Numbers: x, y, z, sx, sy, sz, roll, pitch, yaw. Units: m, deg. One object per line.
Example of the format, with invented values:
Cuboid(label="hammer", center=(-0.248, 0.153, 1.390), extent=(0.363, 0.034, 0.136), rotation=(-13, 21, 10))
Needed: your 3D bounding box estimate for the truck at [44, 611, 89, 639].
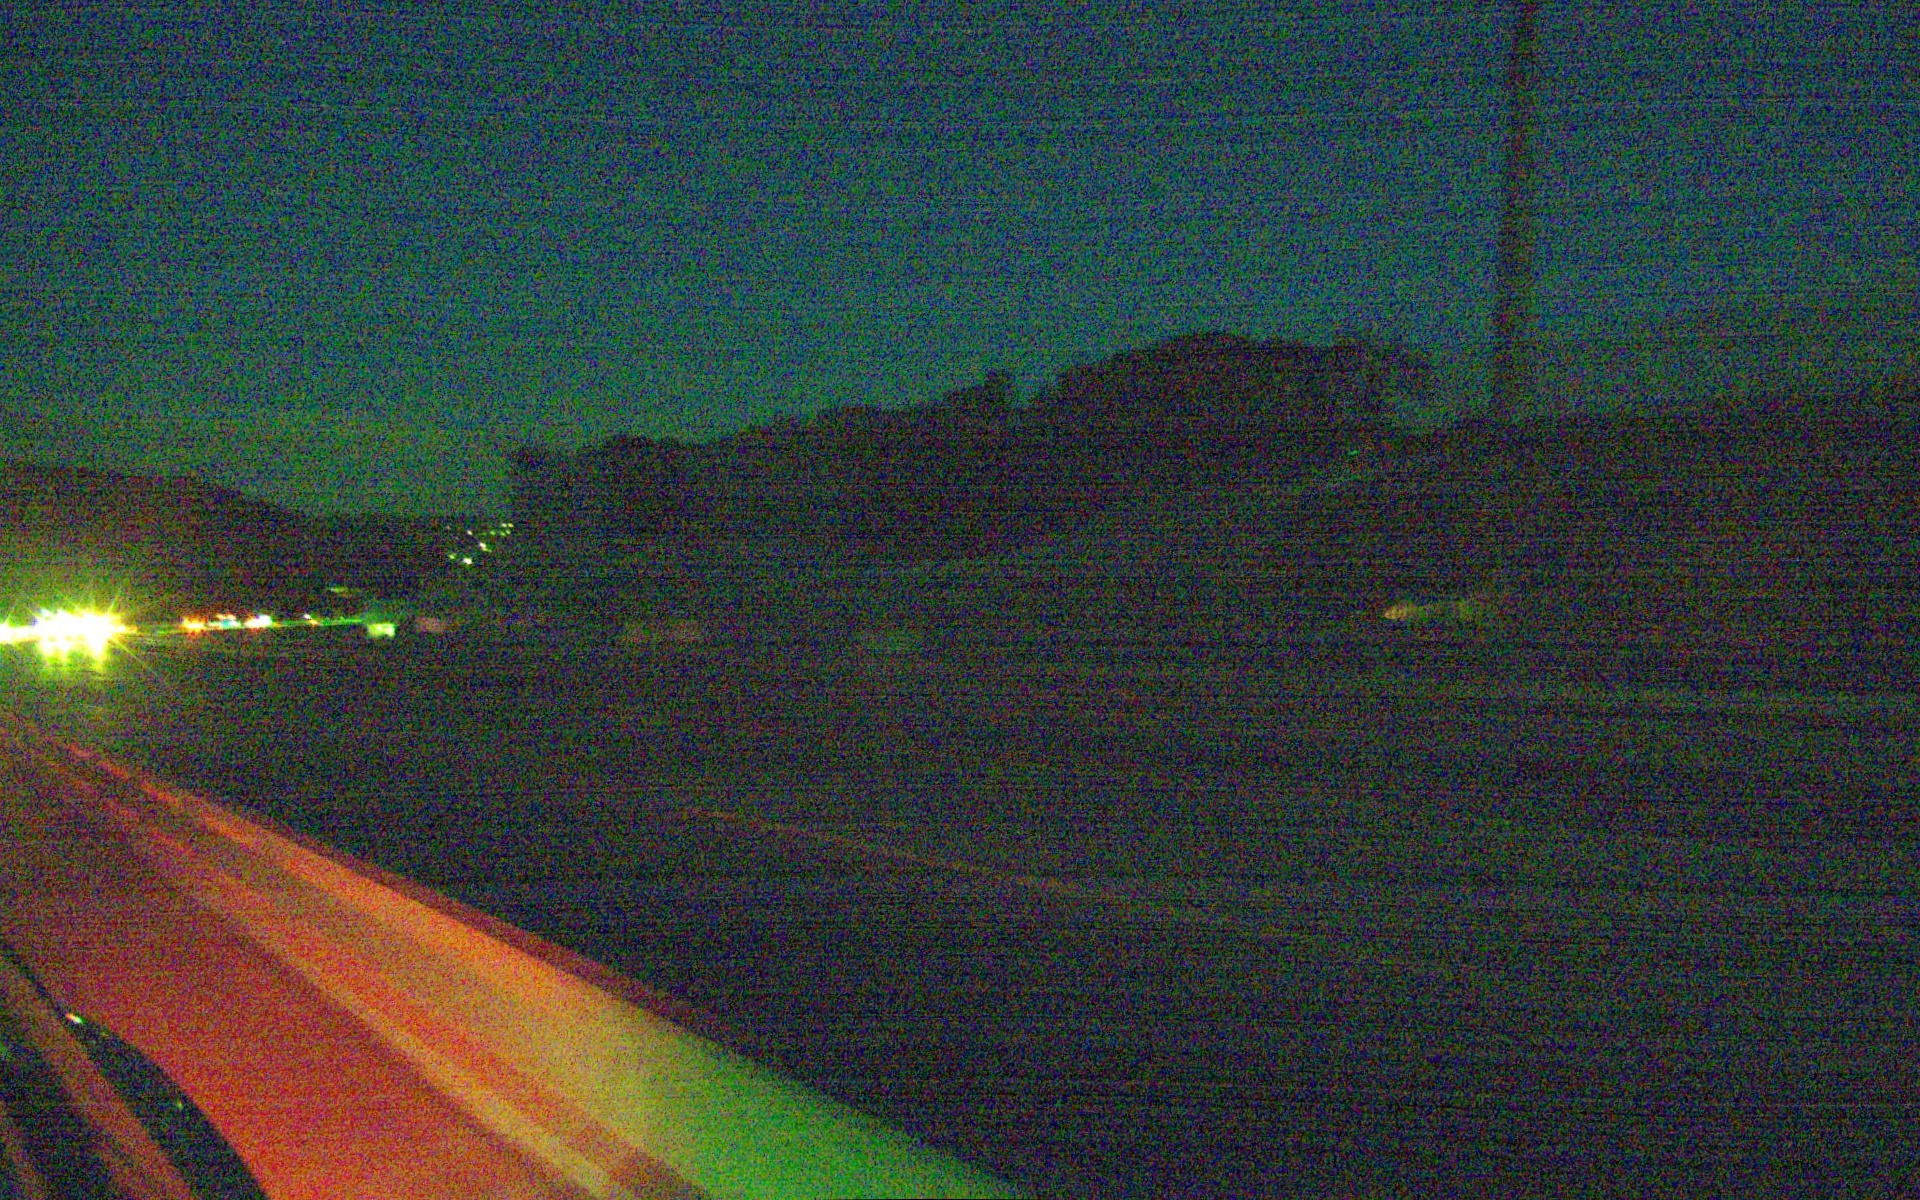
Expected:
Cuboid(label="truck", center=(-145.358, 4.052, 164.885), extent=(2.924, 4.307, 17.192), rotation=(2, -2, -33))

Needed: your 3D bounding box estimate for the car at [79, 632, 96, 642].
Cuboid(label="car", center=(-158.394, 6.726, 183.685), extent=(1.664, 1.641, 4.735), rotation=(2, -3, -32))

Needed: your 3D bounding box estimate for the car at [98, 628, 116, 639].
Cuboid(label="car", center=(-130.030, 5.067, 154.300), extent=(1.795, 1.527, 4.533), rotation=(2, -2, -37))

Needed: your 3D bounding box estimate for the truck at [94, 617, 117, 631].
Cuboid(label="truck", center=(-149.377, 4.221, 177.019), extent=(2.388, 2.443, 7.109), rotation=(2, -2, -35))

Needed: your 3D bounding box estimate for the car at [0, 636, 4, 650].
Cuboid(label="car", center=(-105.673, 4.666, 110.207), extent=(1.784, 1.529, 3.943), rotation=(3, -4, -38))
